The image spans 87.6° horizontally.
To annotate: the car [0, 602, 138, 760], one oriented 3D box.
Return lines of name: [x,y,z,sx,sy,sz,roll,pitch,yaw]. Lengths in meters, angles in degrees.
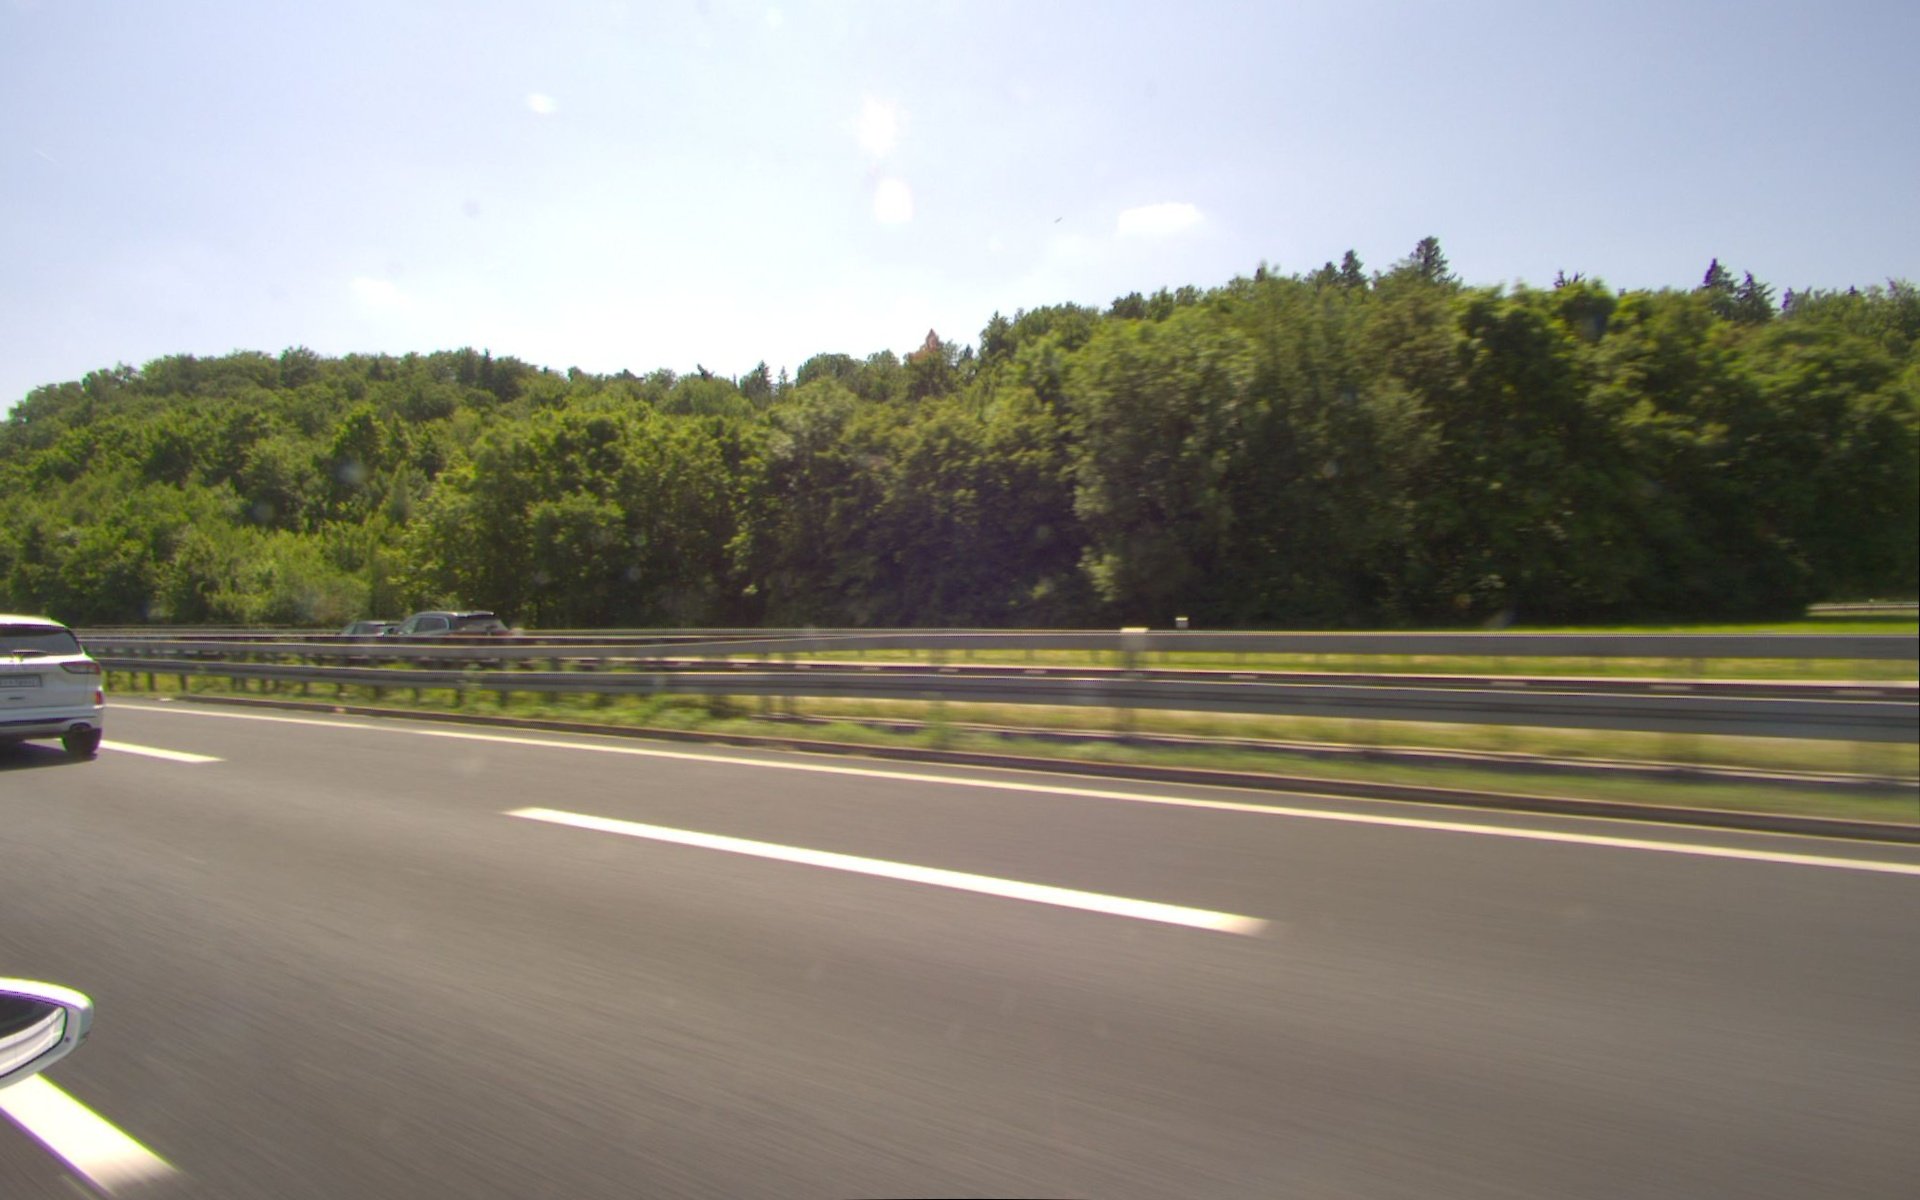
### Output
car: [-11.961,0.916,12.069,4.406,1.683,1.989,-1,-1,34]

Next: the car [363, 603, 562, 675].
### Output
car: [-12.849,0.981,25.743,5.546,1.683,1.990,-1,-1,32]

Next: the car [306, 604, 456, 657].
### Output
car: [-19.797,1.012,34.189,5.146,1.684,1.992,-1,0,27]
